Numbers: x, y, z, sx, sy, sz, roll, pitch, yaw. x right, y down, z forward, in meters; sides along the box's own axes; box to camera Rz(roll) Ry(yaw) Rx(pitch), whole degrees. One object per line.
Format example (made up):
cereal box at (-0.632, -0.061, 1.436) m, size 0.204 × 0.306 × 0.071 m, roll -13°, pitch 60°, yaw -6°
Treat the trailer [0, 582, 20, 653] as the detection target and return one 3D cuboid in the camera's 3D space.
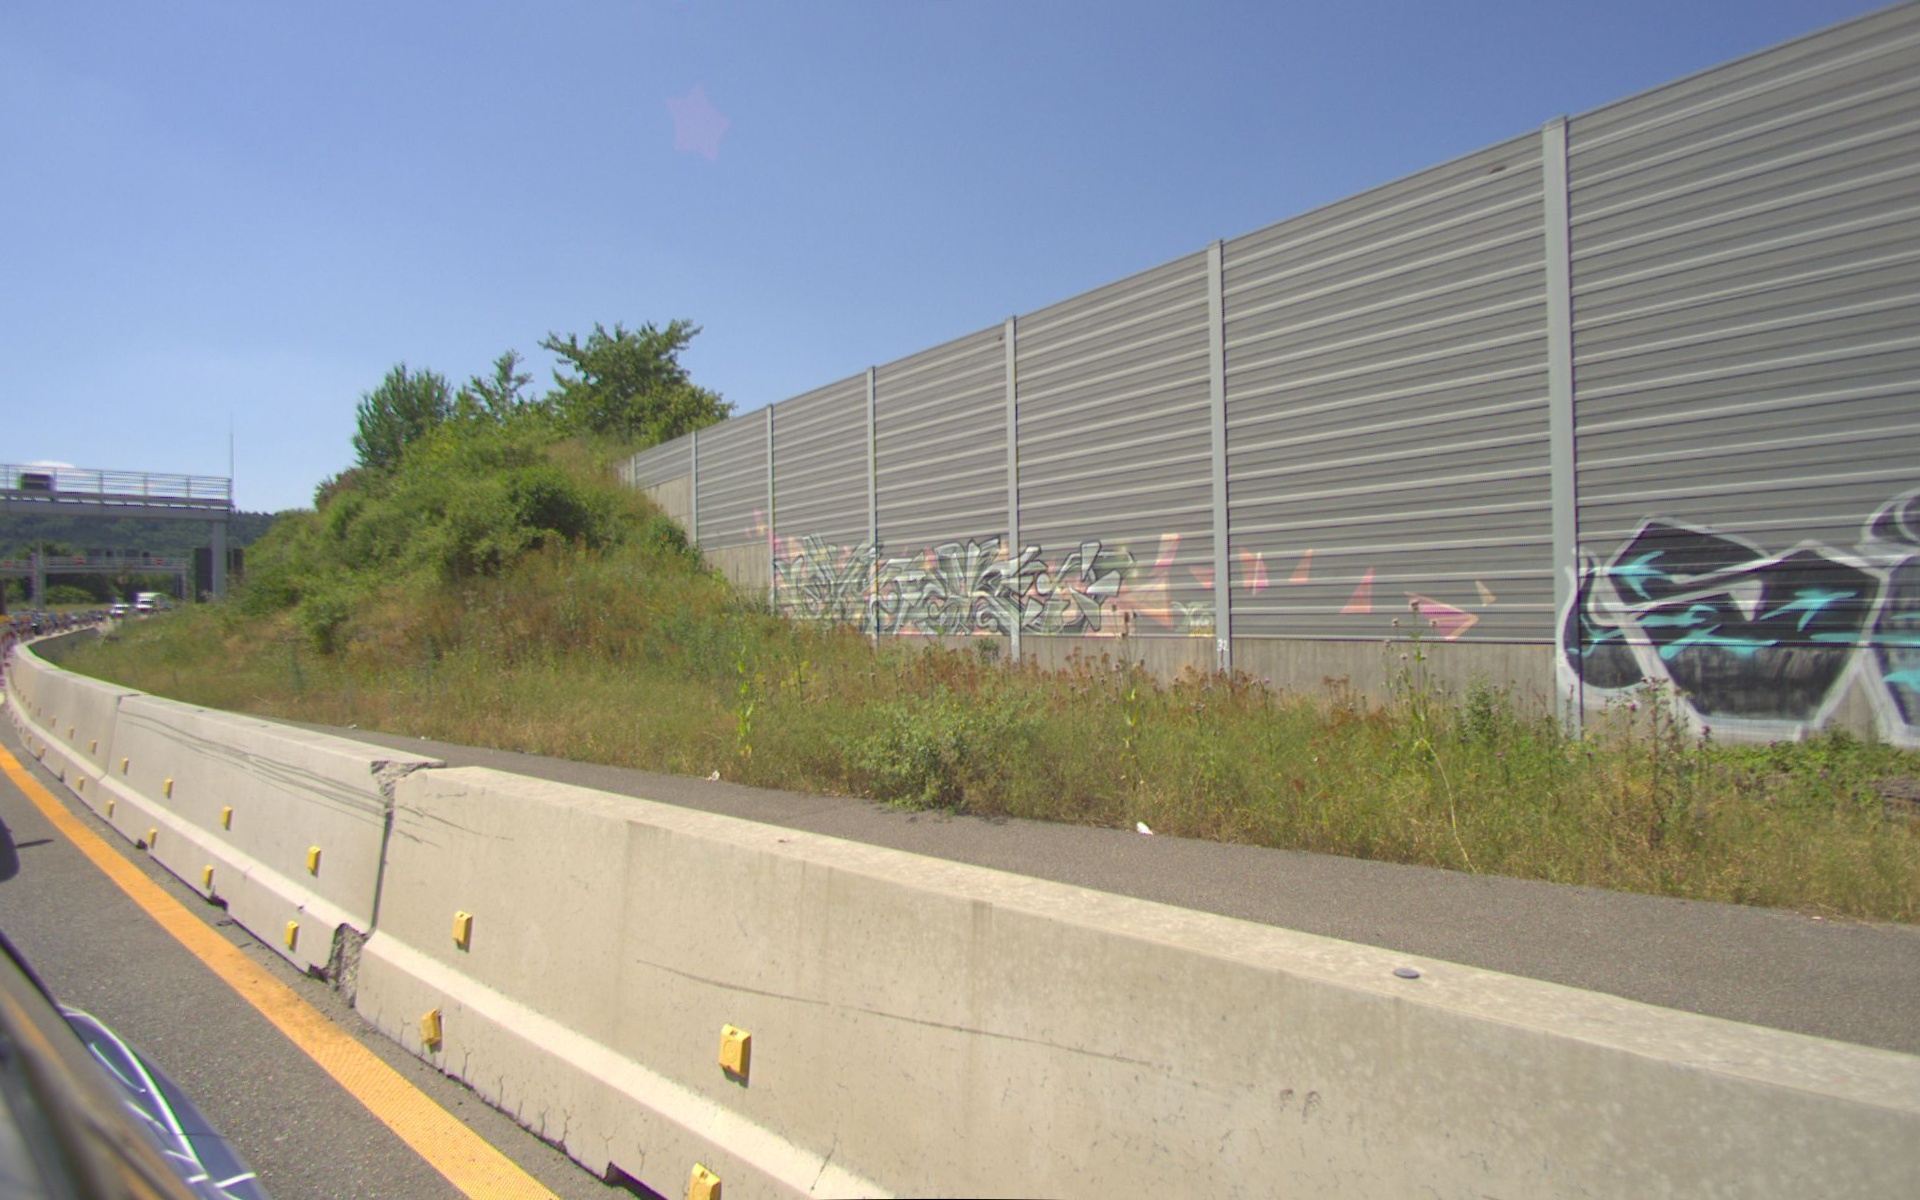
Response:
trailer at (-51.655, 0.987, 52.348) m, size 3.188 × 3.695 × 17.453 m, roll -2°, pitch 0°, yaw -39°
